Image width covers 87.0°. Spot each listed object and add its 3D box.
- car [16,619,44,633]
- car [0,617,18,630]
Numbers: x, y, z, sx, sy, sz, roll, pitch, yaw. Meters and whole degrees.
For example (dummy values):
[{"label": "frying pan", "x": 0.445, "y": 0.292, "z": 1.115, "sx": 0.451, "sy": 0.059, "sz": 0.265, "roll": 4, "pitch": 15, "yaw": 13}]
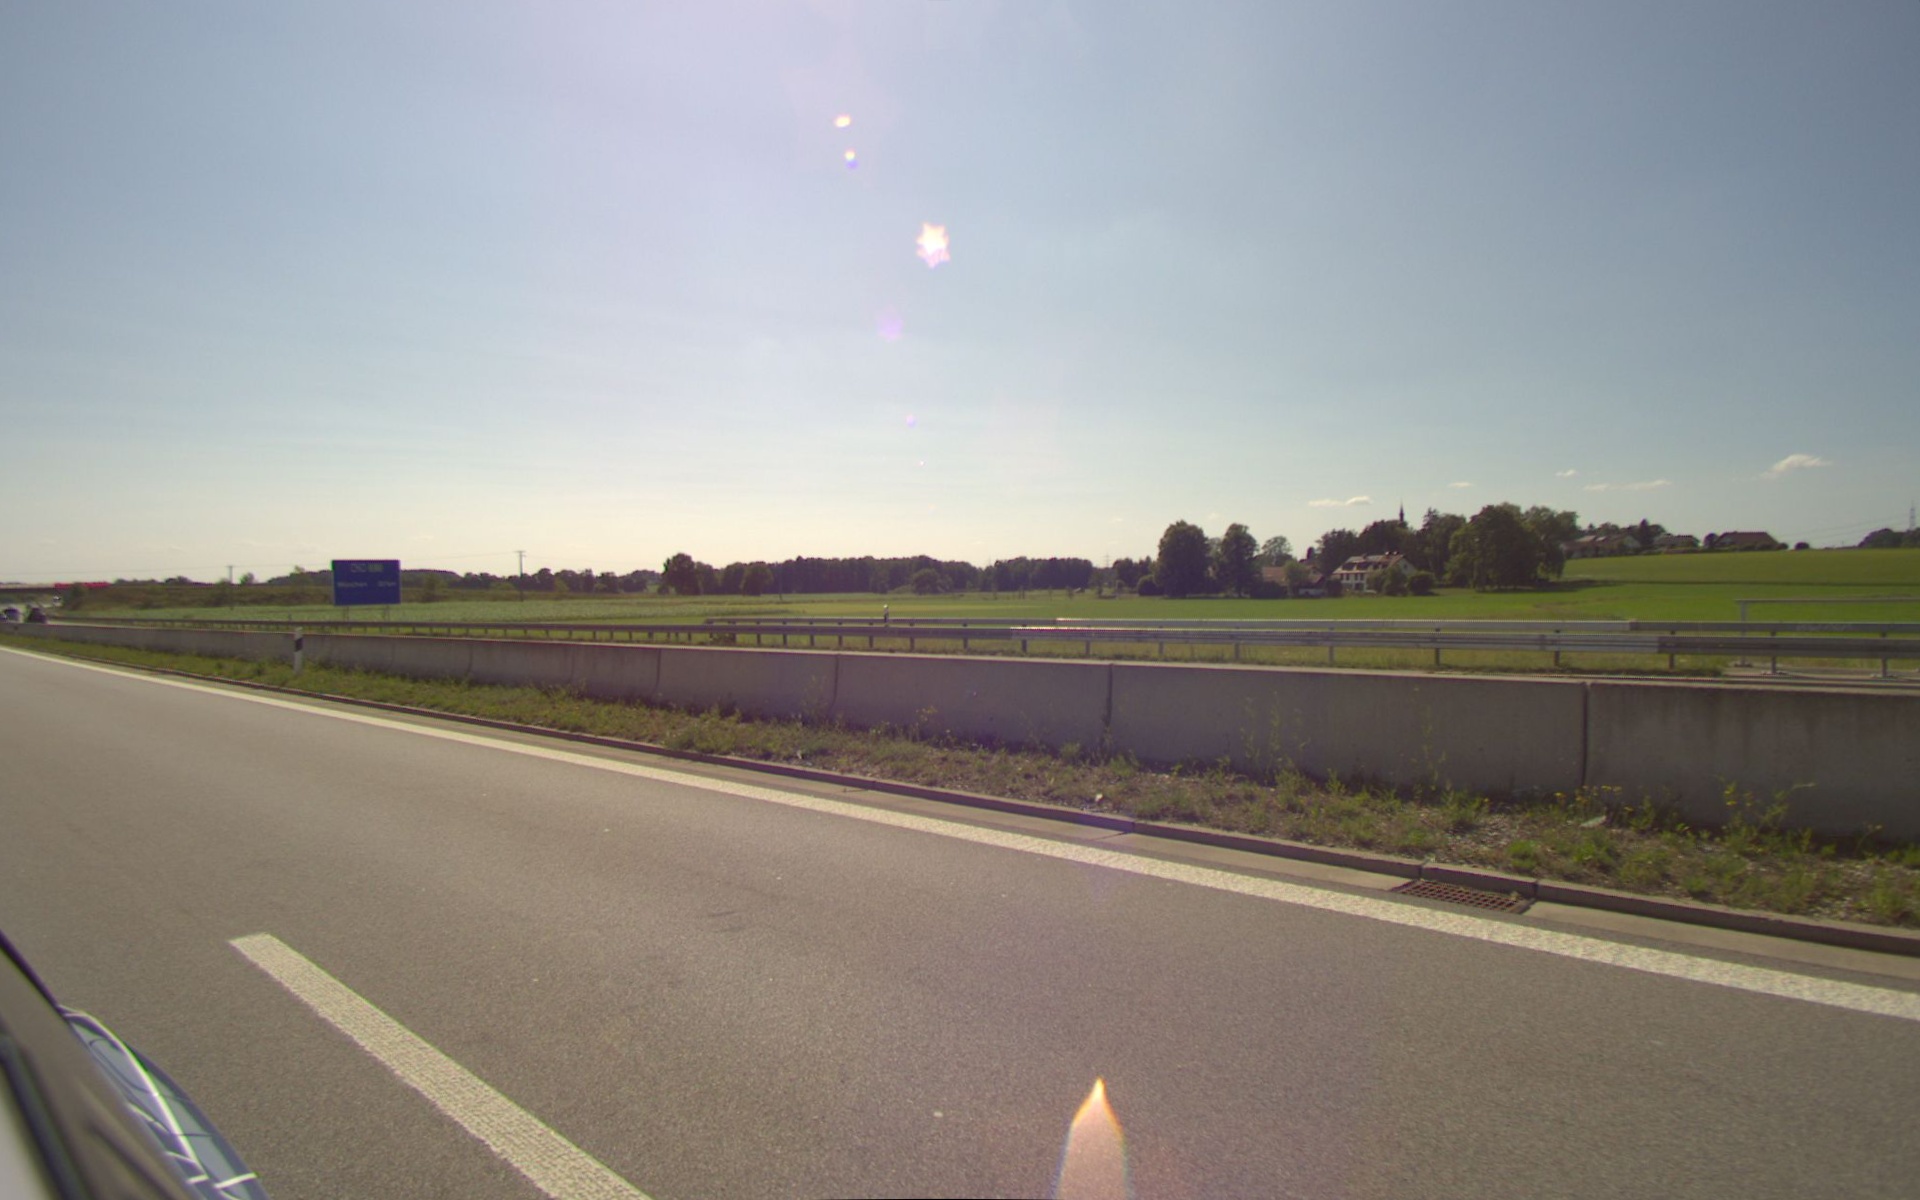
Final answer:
[{"label": "car", "x": -105.155, "y": 2.975, "z": 114.424, "sx": 4.804, "sy": 1.535, "sz": 1.878, "roll": -1, "pitch": -1, "yaw": 42}, {"label": "car", "x": -135.953, "y": 3.327, "z": 144.401, "sx": 5.450, "sy": 1.856, "sz": 1.932, "roll": -1, "pitch": -1, "yaw": 43}]
